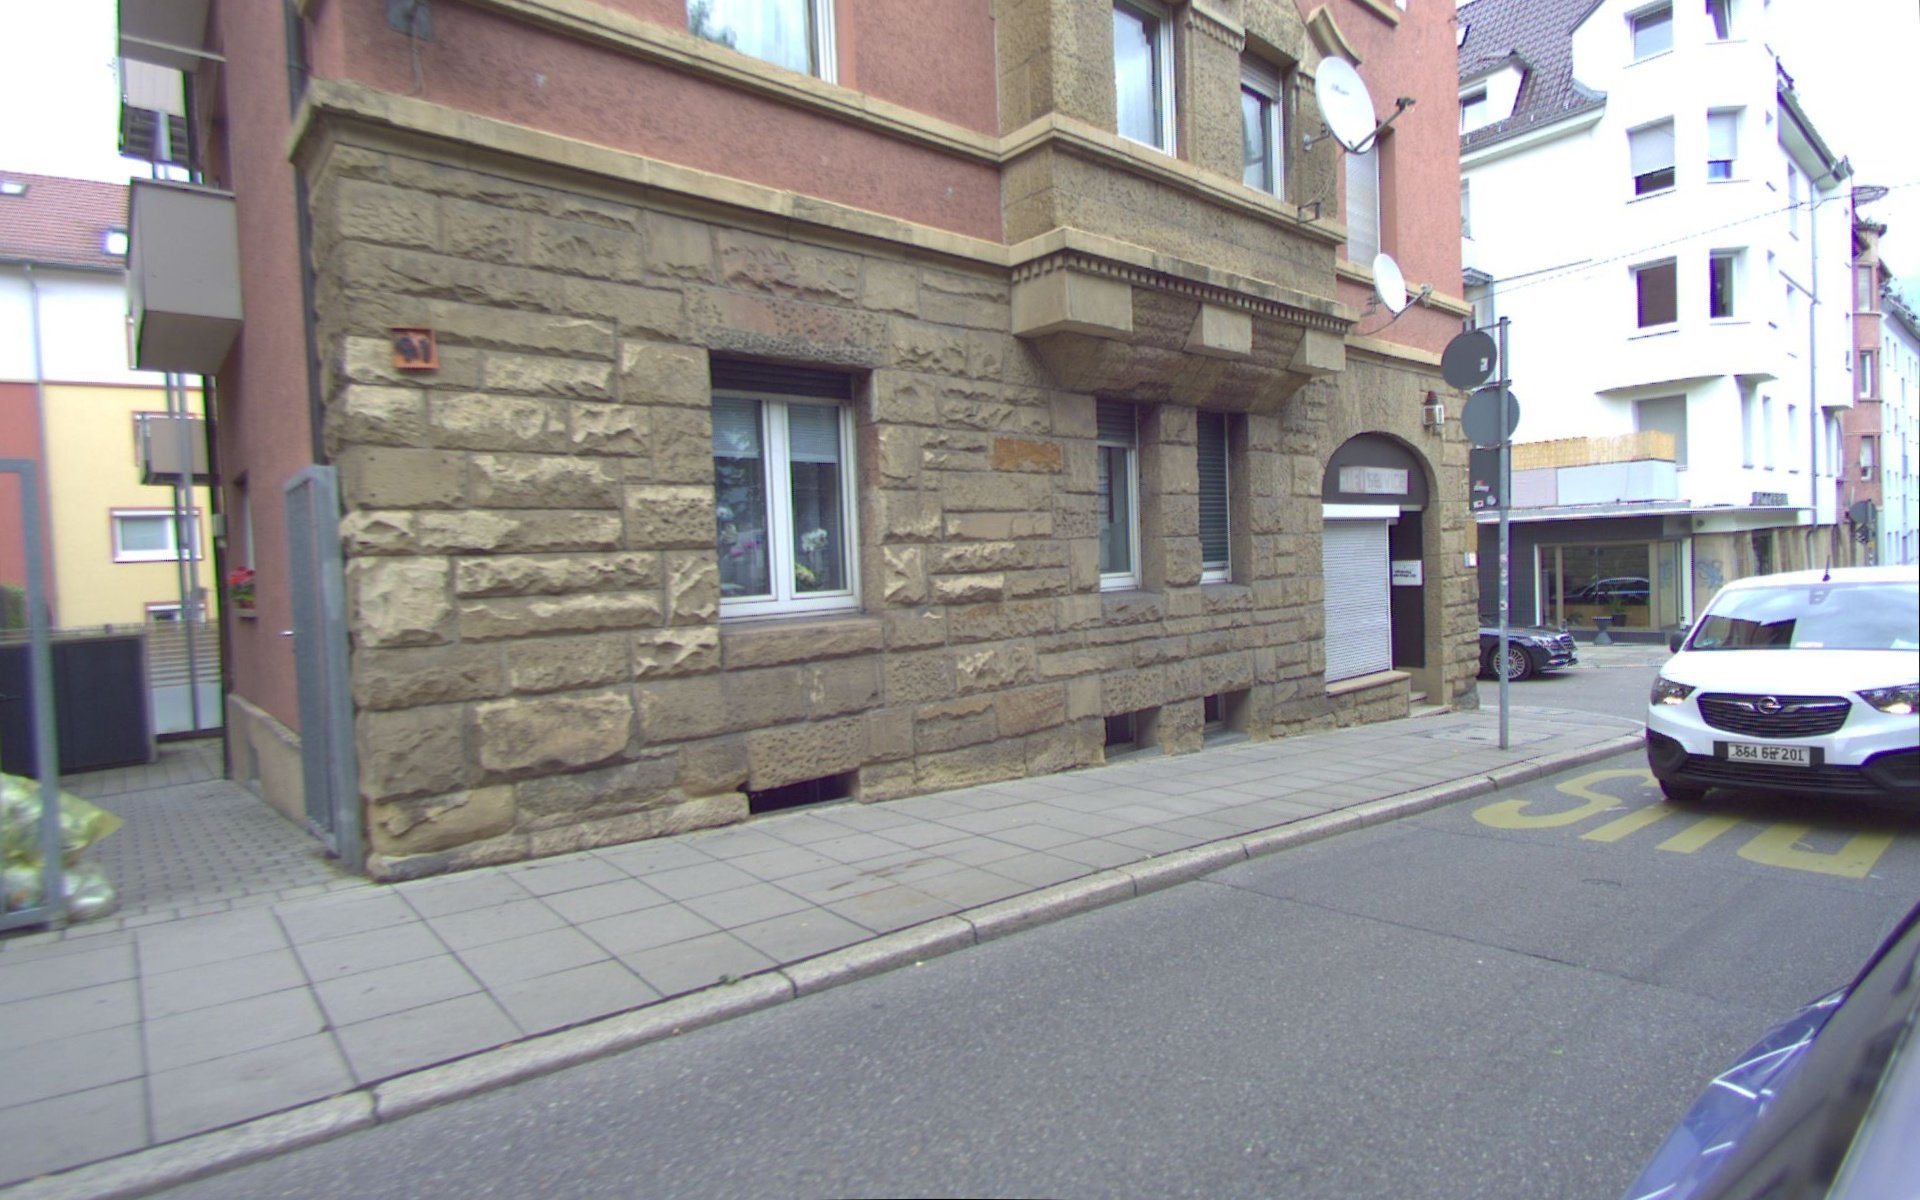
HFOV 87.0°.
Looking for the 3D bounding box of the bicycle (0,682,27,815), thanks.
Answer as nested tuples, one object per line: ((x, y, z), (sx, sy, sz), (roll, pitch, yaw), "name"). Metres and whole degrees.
((-9.721, 1.487, 10.105), (0.542, 1.226, 1.924), (-1, -5, -41), "bicycle")

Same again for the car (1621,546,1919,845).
((7.477, 0.512, 8.297), (4.929, 1.848, 1.854), (-3, 0, -37), "car")

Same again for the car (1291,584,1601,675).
((9.608, 0.613, 20.334), (5.126, 1.570, 2.203), (-4, -1, 45), "car")

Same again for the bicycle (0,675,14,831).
((-8.420, 1.300, 8.565), (0.542, 1.226, 1.924), (-1, -5, -41), "bicycle")
